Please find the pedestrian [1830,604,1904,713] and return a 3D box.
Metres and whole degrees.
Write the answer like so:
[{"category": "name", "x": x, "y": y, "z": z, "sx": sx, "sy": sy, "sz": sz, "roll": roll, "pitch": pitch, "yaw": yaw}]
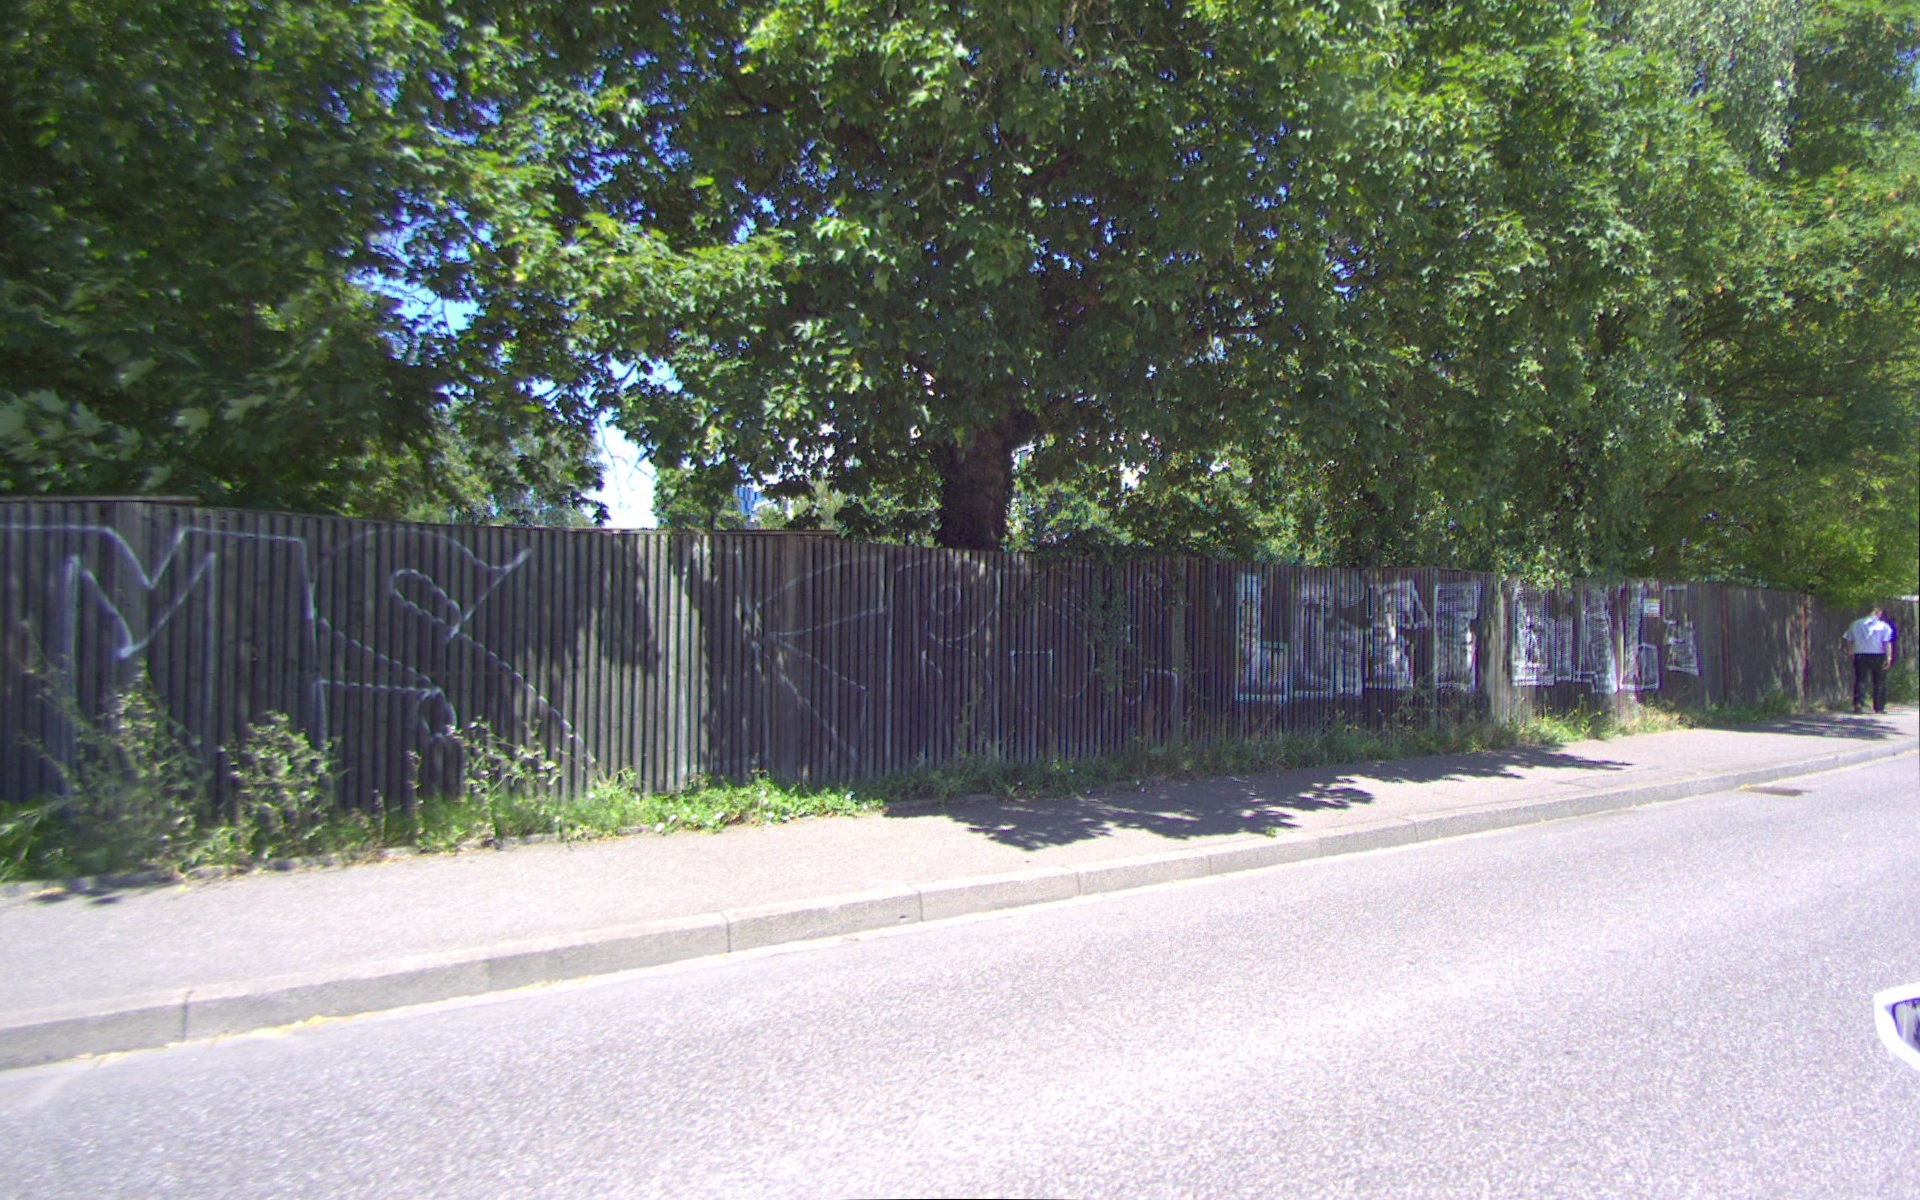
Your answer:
[{"category": "pedestrian", "x": 15.083, "y": 0.959, "z": 16.711, "sx": 0.809, "sy": 1.748, "sz": 0.718, "roll": 1, "pitch": -2, "yaw": -34}]
